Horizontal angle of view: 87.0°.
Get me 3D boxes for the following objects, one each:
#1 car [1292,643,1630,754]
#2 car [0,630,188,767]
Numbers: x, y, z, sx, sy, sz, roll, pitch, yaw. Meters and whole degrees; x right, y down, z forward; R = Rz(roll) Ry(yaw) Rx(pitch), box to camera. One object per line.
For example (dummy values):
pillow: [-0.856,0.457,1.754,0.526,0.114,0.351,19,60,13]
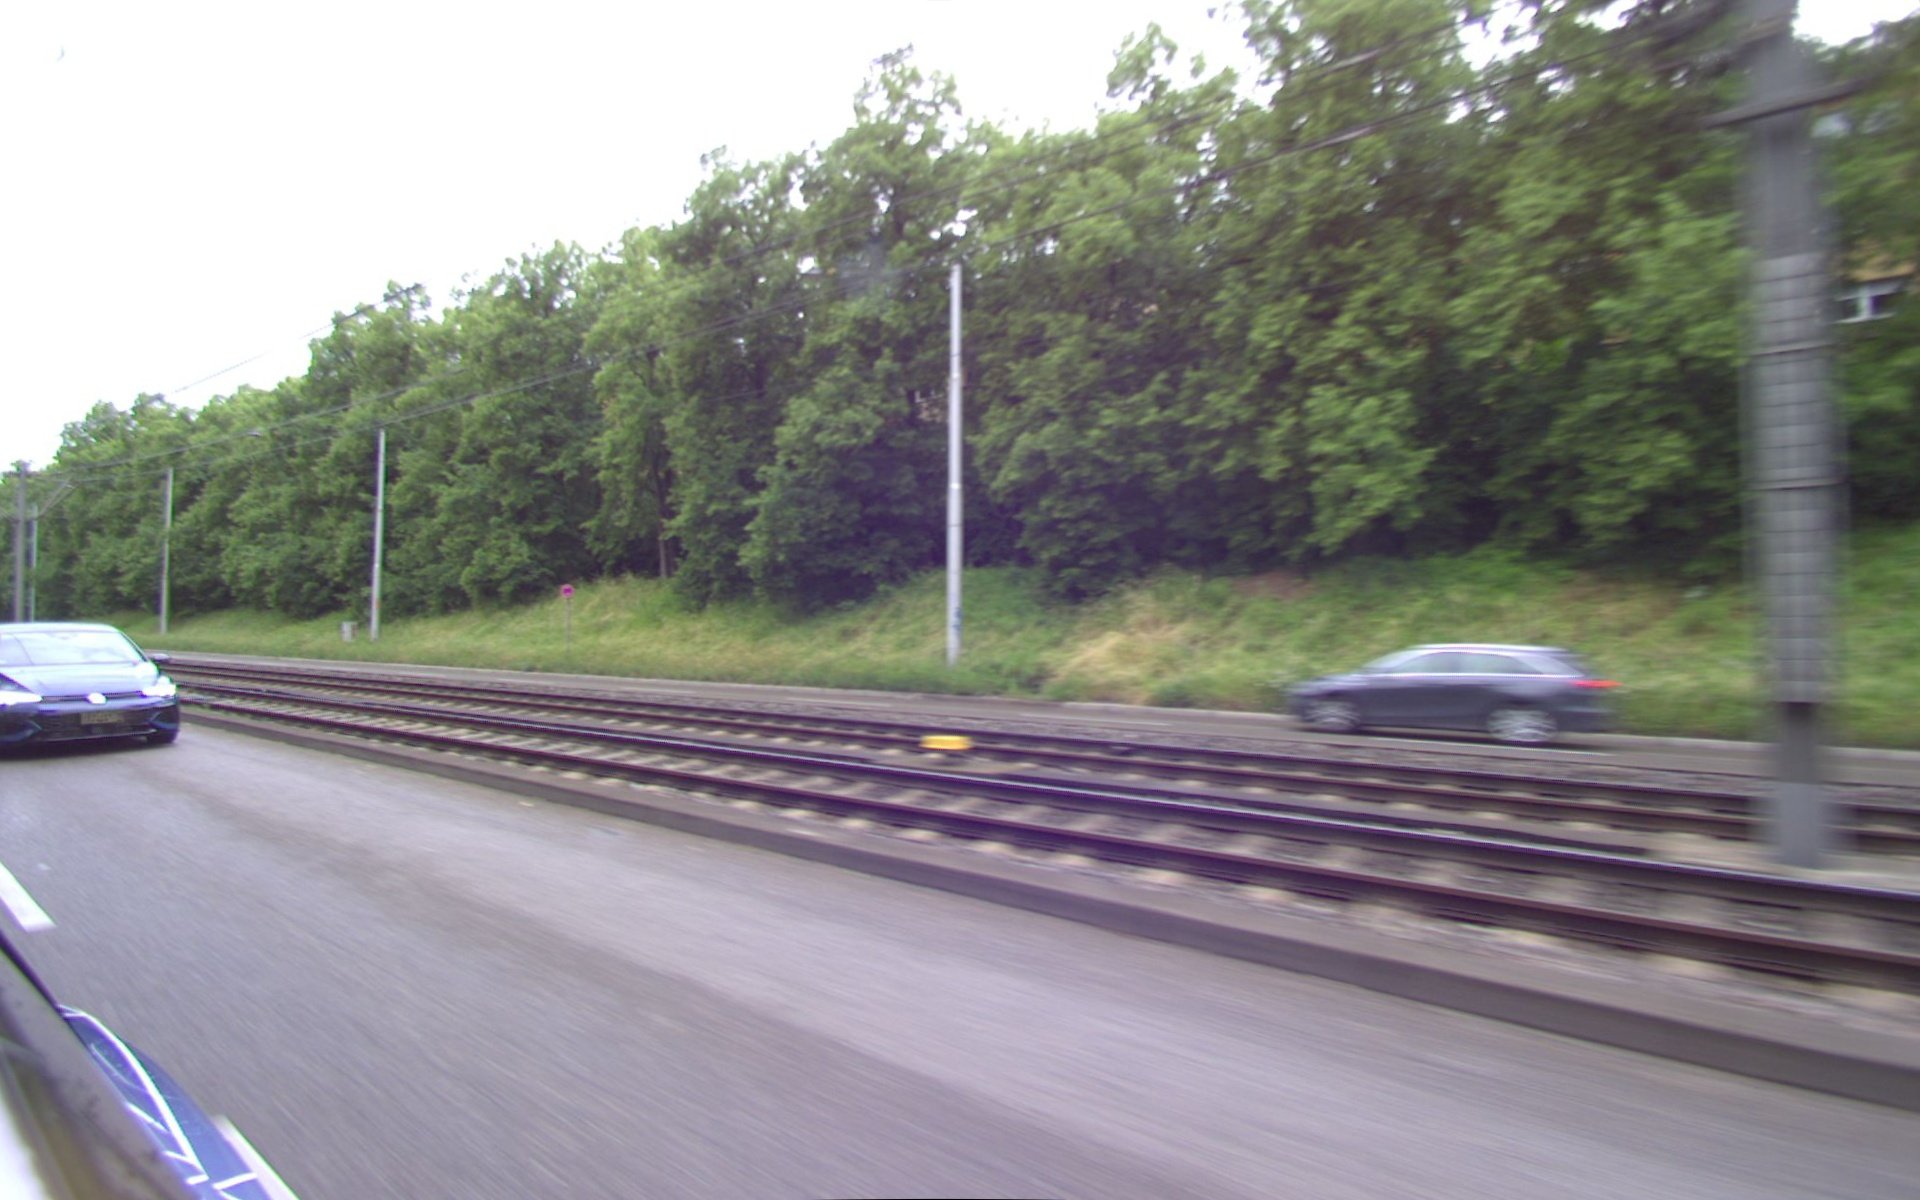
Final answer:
car: [7.674,1.433,15.689,4.423,1.442,1.975,-1,-4,37]
car: [-11.101,1.083,12.330,4.343,1.389,1.790,-2,-2,40]
